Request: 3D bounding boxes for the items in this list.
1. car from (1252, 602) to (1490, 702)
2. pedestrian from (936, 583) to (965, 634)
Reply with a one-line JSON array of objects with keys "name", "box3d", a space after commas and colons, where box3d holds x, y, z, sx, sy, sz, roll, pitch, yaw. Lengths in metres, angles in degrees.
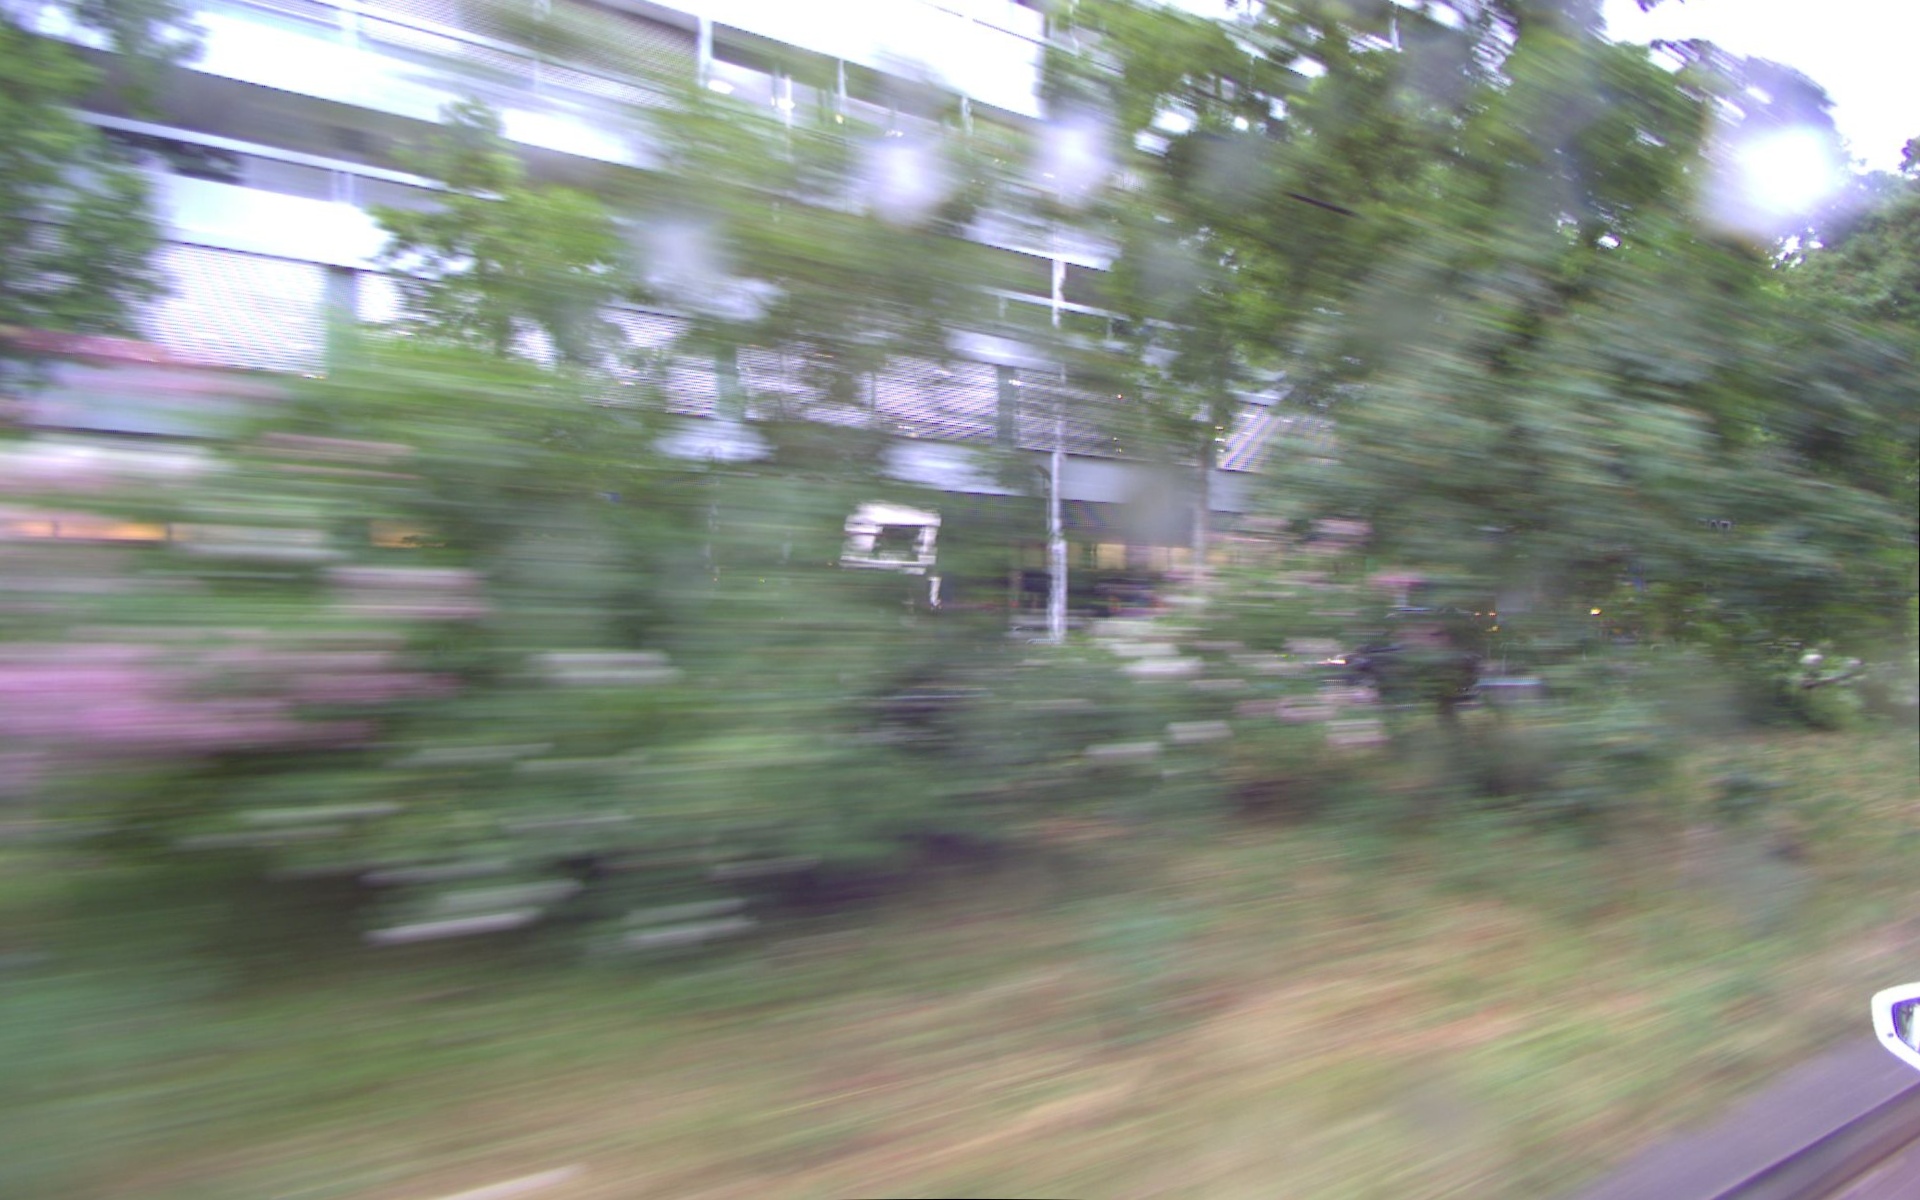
[{"name": "car", "box3d": [8.300, 0.994, 20.207, 4.617, 1.780, 1.906, 1, 1, -29]}, {"name": "pedestrian", "box3d": [-0.291, 0.247, 30.343, 0.569, 1.502, 0.606, 2, 1, -33]}]
